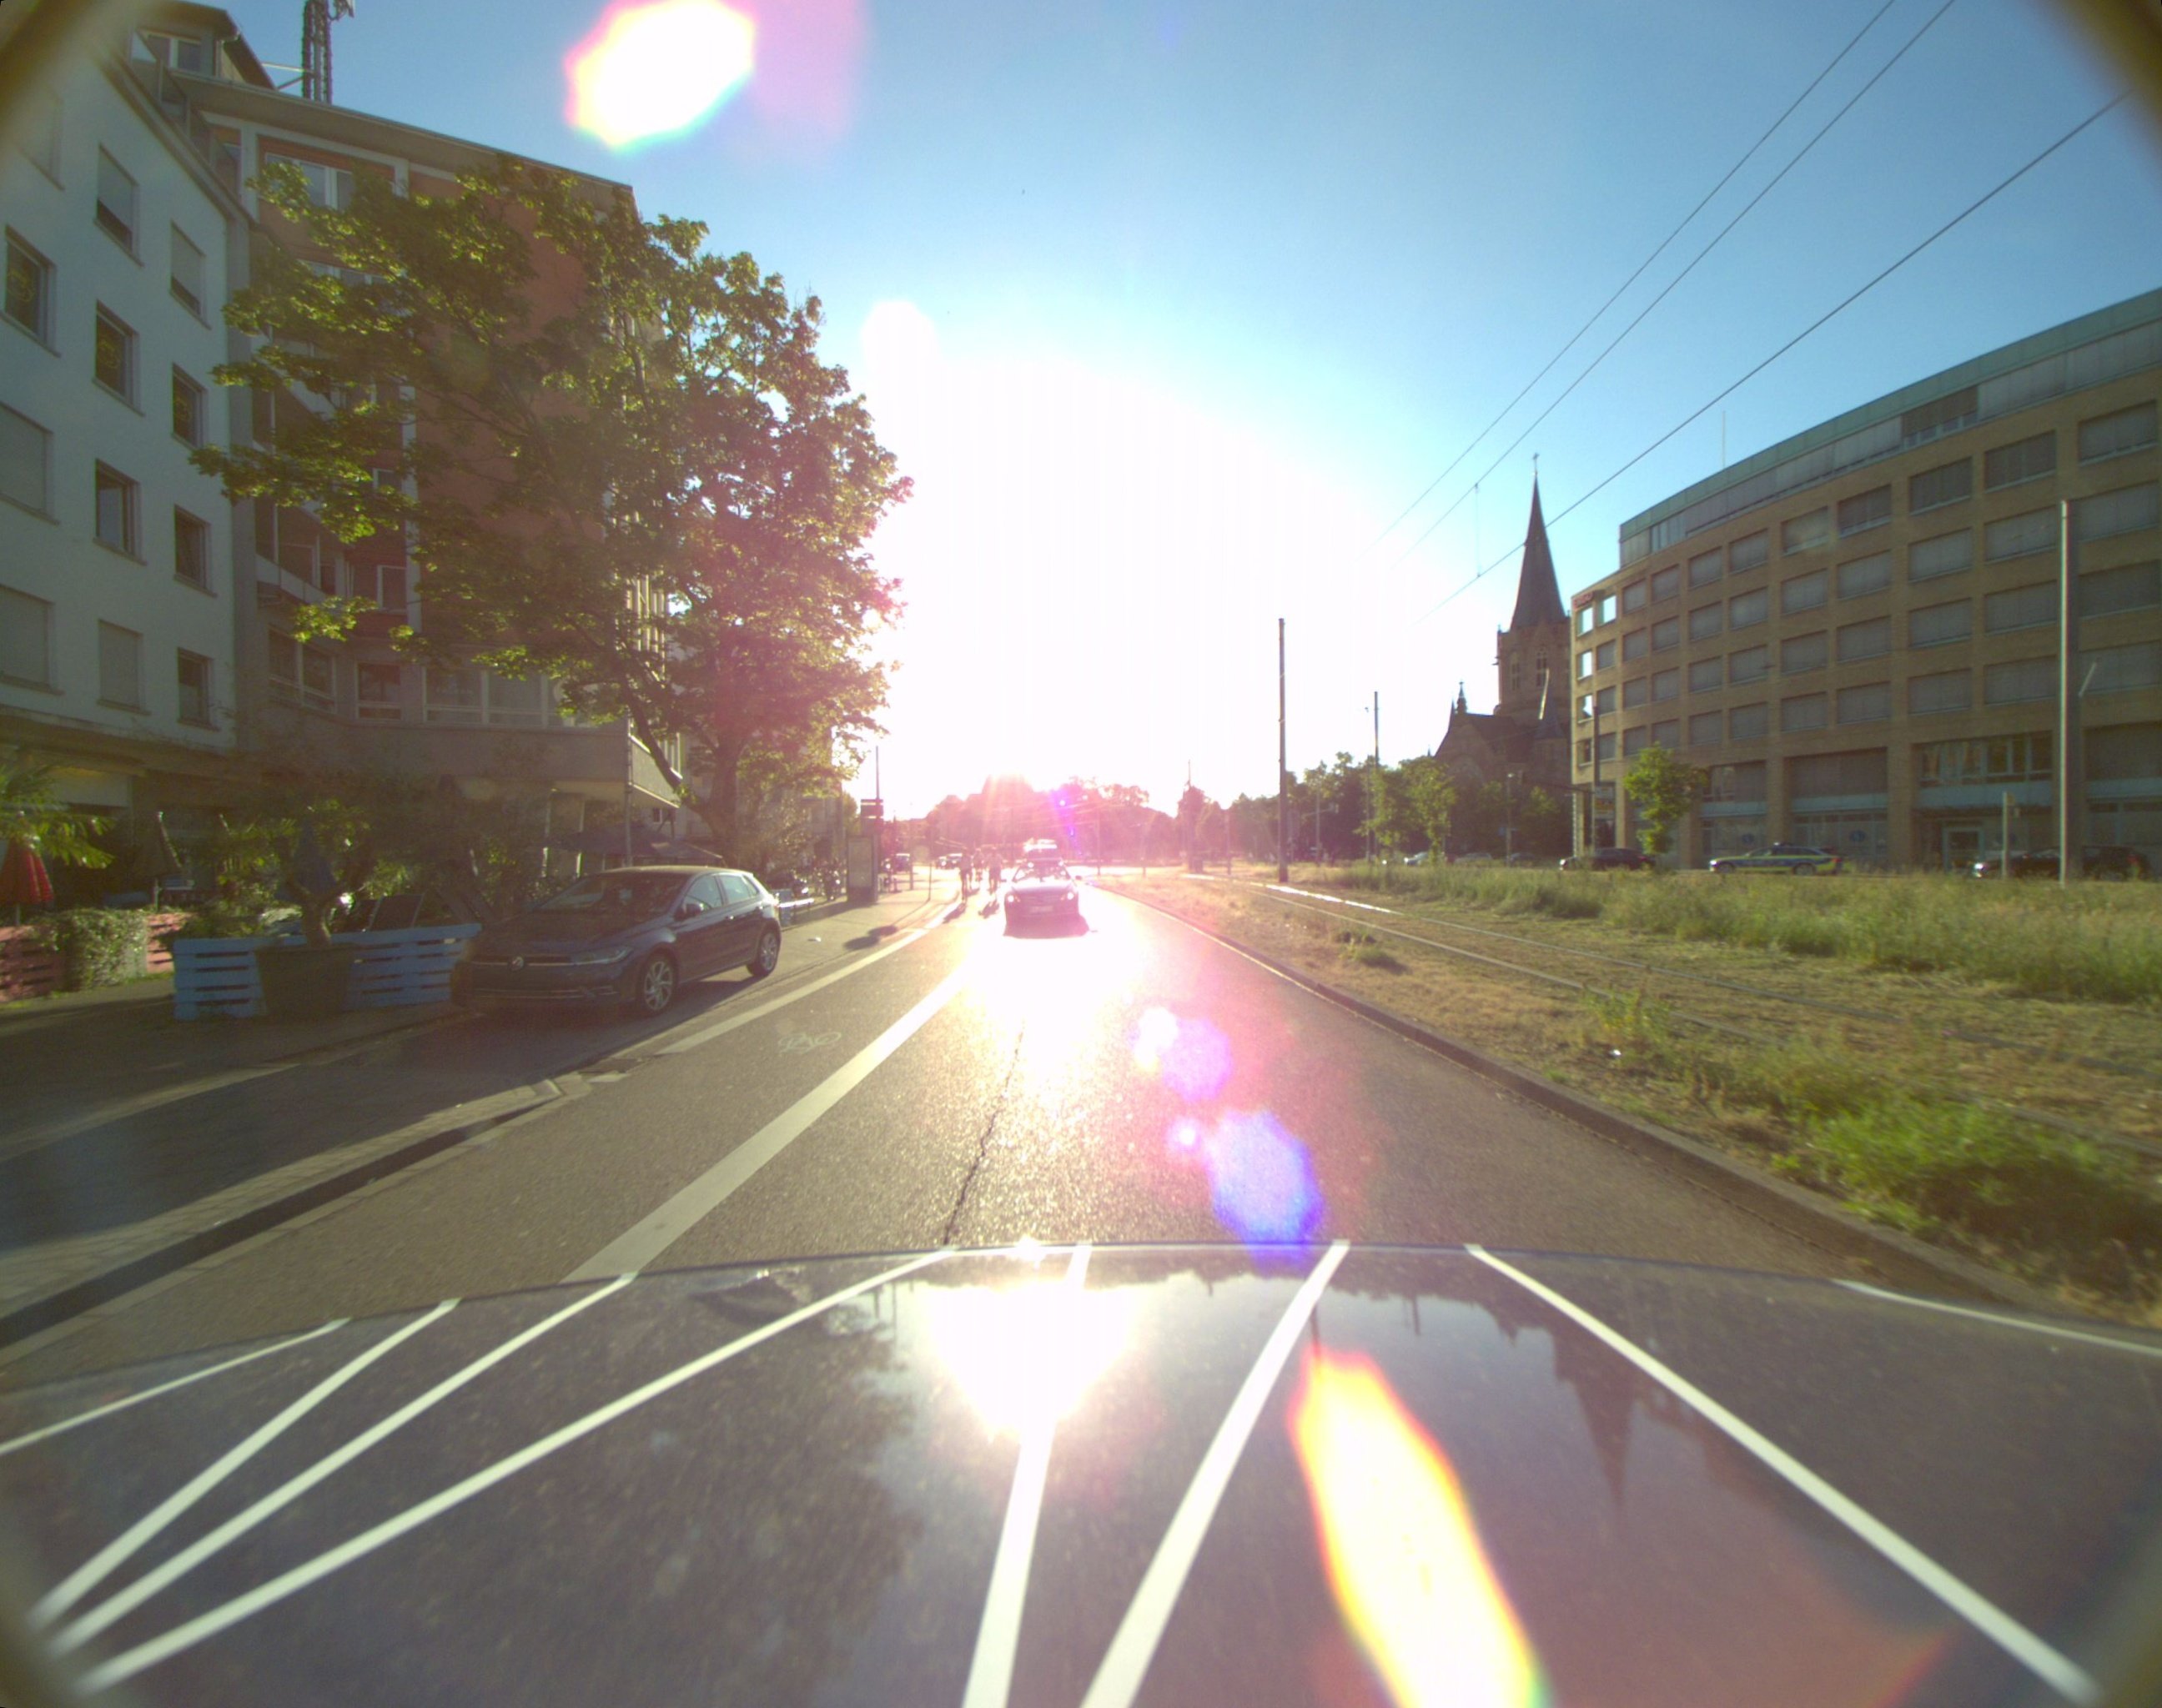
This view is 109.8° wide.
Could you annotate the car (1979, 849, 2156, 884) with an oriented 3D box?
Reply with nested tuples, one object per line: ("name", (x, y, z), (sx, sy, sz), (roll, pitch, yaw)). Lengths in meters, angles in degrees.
("car", (34.996, 0.420, 27.081), (1.527, 1.147, 3.592), (-1, 0, -23))

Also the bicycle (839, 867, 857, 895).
("bicycle", (-9.844, 1.109, 32.031), (0.647, 1.120, 1.871), (-1, -1, -19))

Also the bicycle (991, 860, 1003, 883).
("bicycle", (-4.408, 0.910, 39.807), (0.530, 1.152, 1.847), (-2, 1, -9))

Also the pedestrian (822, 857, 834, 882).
("pedestrian", (-15.020, 0.914, 45.101), (0.684, 1.491, 0.745), (-1, 0, -20))

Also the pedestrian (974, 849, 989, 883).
("pedestrian", (-4.854, 0.584, 36.922), (0.640, 1.639, 0.842), (-2, 1, -8))

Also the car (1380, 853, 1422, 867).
("car", (34.500, 0.614, 81.847), (4.004, 1.412, 1.899), (-1, 0, -21))

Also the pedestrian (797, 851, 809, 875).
("pedestrian", (-20.133, 0.671, 55.036), (0.786, 1.691, 1.025), (-1, 0, -20))

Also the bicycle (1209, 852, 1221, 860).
("bicycle", (18.022, 0.263, 102.325), (0.526, 1.020, 1.927), (-4, 1, -22))

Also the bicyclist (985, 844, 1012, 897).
("bicyclist", (-2.900, 0.565, 26.632), (0.829, 1.797, 1.056), (-1, 1, -11))

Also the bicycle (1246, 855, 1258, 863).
("bicycle", (21.102, 0.599, 93.821), (0.460, 1.020, 1.927), (-2, 1, -21))

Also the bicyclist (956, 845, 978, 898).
("bicyclist", (-3.964, 0.604, 26.358), (0.676, 1.797, 0.993), (-1, 1, -11))

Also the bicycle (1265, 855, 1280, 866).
("bicycle", (21.698, 0.719, 86.114), (0.460, 1.139, 1.916), (-2, 1, -22))

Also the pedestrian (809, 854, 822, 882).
("pedestrian", (-15.881, 0.849, 45.392), (0.684, 1.652, 0.745), (-1, 0, -20))

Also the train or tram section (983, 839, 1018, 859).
("train or tram section", (-14.602, -0.833, 136.549), (2.785, 3.515, 13.227), (-1, 0, -22))

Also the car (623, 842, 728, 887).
("car", (-23.925, 0.597, 45.078), (5.272, 2.468, 1.922), (-1, 0, -21))

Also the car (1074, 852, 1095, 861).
("car", (0.530, 0.371, 119.833), (1.732, 1.406, 3.878), (-1, 0, -26))

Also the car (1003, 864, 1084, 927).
("car", (-0.917, 0.956, 19.008), (1.776, 1.300, 4.239), (-1, 0, -2))

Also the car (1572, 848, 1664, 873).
("car", (29.310, 0.361, 41.616), (1.732, 1.275, 3.782), (-1, 0, -21))

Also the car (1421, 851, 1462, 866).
("car", (39.576, 0.476, 83.520), (4.004, 1.575, 1.822), (-1, 0, -22))

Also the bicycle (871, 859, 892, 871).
("bicycle", (-19.465, 1.067, 74.008), (1.876, 1.055, 0.606), (-1, 1, -24))

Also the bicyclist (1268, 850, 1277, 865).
("bicyclist", (21.692, 0.397, 86.089), (0.522, 1.574, 0.819), (-2, 1, -22))

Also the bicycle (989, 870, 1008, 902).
("bicycle", (-2.916, 1.111, 26.724), (0.480, 1.022, 1.979), (-2, 1, -10))

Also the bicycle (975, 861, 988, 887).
("bicycle", (-4.877, 0.968, 37.116), (0.530, 1.152, 1.847), (-2, 1, -9))

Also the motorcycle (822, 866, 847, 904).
("motorcycle", (-8.688, 1.059, 26.818), (0.668, 1.235, 2.198), (-1, 0, -15))

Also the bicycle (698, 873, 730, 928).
("bicycle", (-8.198, 1.002, 17.012), (0.422, 1.151, 1.753), (-1, -1, -19))

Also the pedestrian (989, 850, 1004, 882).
("pedestrian", (-4.409, 0.601, 39.781), (0.679, 1.639, 0.901), (-2, 1, -10))

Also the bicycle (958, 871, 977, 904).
("bicycle", (-3.951, 1.150, 26.380), (0.577, 1.022, 1.855), (-2, 1, -10))

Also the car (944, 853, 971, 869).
("car", (-14.687, 0.836, 89.973), (1.959, 1.702, 4.841), (-4, 1, -24))

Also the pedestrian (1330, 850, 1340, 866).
("pedestrian", (26.774, 0.389, 80.038), (0.739, 1.663, 0.716), (-1, 0, -19))

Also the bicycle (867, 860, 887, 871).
("bicycle", (-20.270, 1.149, 75.525), (1.876, 1.055, 0.606), (-1, 1, -24))

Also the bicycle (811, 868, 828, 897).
("bicycle", (-10.900, 1.153, 31.637), (0.647, 1.151, 2.121), (-1, -1, -19))

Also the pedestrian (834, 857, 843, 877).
("pedestrian", (-19.206, 1.031, 60.161), (0.684, 1.580, 0.745), (-1, 0, -16))

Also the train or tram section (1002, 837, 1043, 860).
("train or tram section", (-9.685, -0.851, 124.313), (2.785, 3.515, 13.227), (-1, 0, -22))

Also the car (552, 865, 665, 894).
("car", (-24.540, 1.304, 39.636), (4.680, 1.333, 1.837), (-1, 0, -19))

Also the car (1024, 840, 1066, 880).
("car", (-1.989, 0.302, 40.494), (1.921, 1.978, 4.944), (-1, 0, -6))

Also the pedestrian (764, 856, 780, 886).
("pedestrian", (-17.442, 0.938, 42.917), (0.730, 1.652, 0.904), (-1, 0, -20))

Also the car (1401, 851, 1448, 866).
("car", (33.921, 0.453, 75.145), (4.003, 1.412, 1.899), (-1, 0, -18))

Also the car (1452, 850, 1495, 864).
("car", (41.725, 0.355, 80.853), (4.004, 1.412, 1.899), (-1, 0, -21))

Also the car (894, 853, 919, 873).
("car", (-17.837, 0.905, 77.477), (1.945, 1.922, 4.824), (-1, 0, -20))

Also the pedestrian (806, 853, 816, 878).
("pedestrian", (-18.318, 0.753, 51.512), (0.571, 1.691, 0.811), (-1, 0, -20))

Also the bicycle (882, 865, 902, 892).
("bicycle", (-8.101, 1.041, 32.513), (0.647, 1.120, 1.871), (-1, -1, -19))

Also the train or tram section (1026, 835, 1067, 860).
("train or tram section", (-5.295, -0.910, 113.281), (2.785, 3.515, 10.551), (-1, 0, -22))

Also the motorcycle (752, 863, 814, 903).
("motorcycle", (-11.114, 1.070, 28.407), (2.051, 1.398, 0.759), (-1, 1, -13))

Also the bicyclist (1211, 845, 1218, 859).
("bicyclist", (17.978, -0.243, 102.352), (0.575, 1.816, 0.893), (-2, 1, -22))

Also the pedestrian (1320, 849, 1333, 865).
("pedestrian", (25.820, 0.311, 79.850), (0.739, 1.663, 1.103), (-1, 0, -18))

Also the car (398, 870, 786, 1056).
("car", (-4.985, 0.978, 8.507), (1.732, 1.463, 3.899), (2, 0, 2))

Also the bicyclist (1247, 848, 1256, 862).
("bicyclist", (21.040, 0.165, 93.909), (0.575, 1.671, 0.893), (-2, 1, -22))

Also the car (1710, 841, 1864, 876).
("car", (31.955, 0.188, 34.601), (1.897, 1.472, 4.772), (-1, 0, -24))
